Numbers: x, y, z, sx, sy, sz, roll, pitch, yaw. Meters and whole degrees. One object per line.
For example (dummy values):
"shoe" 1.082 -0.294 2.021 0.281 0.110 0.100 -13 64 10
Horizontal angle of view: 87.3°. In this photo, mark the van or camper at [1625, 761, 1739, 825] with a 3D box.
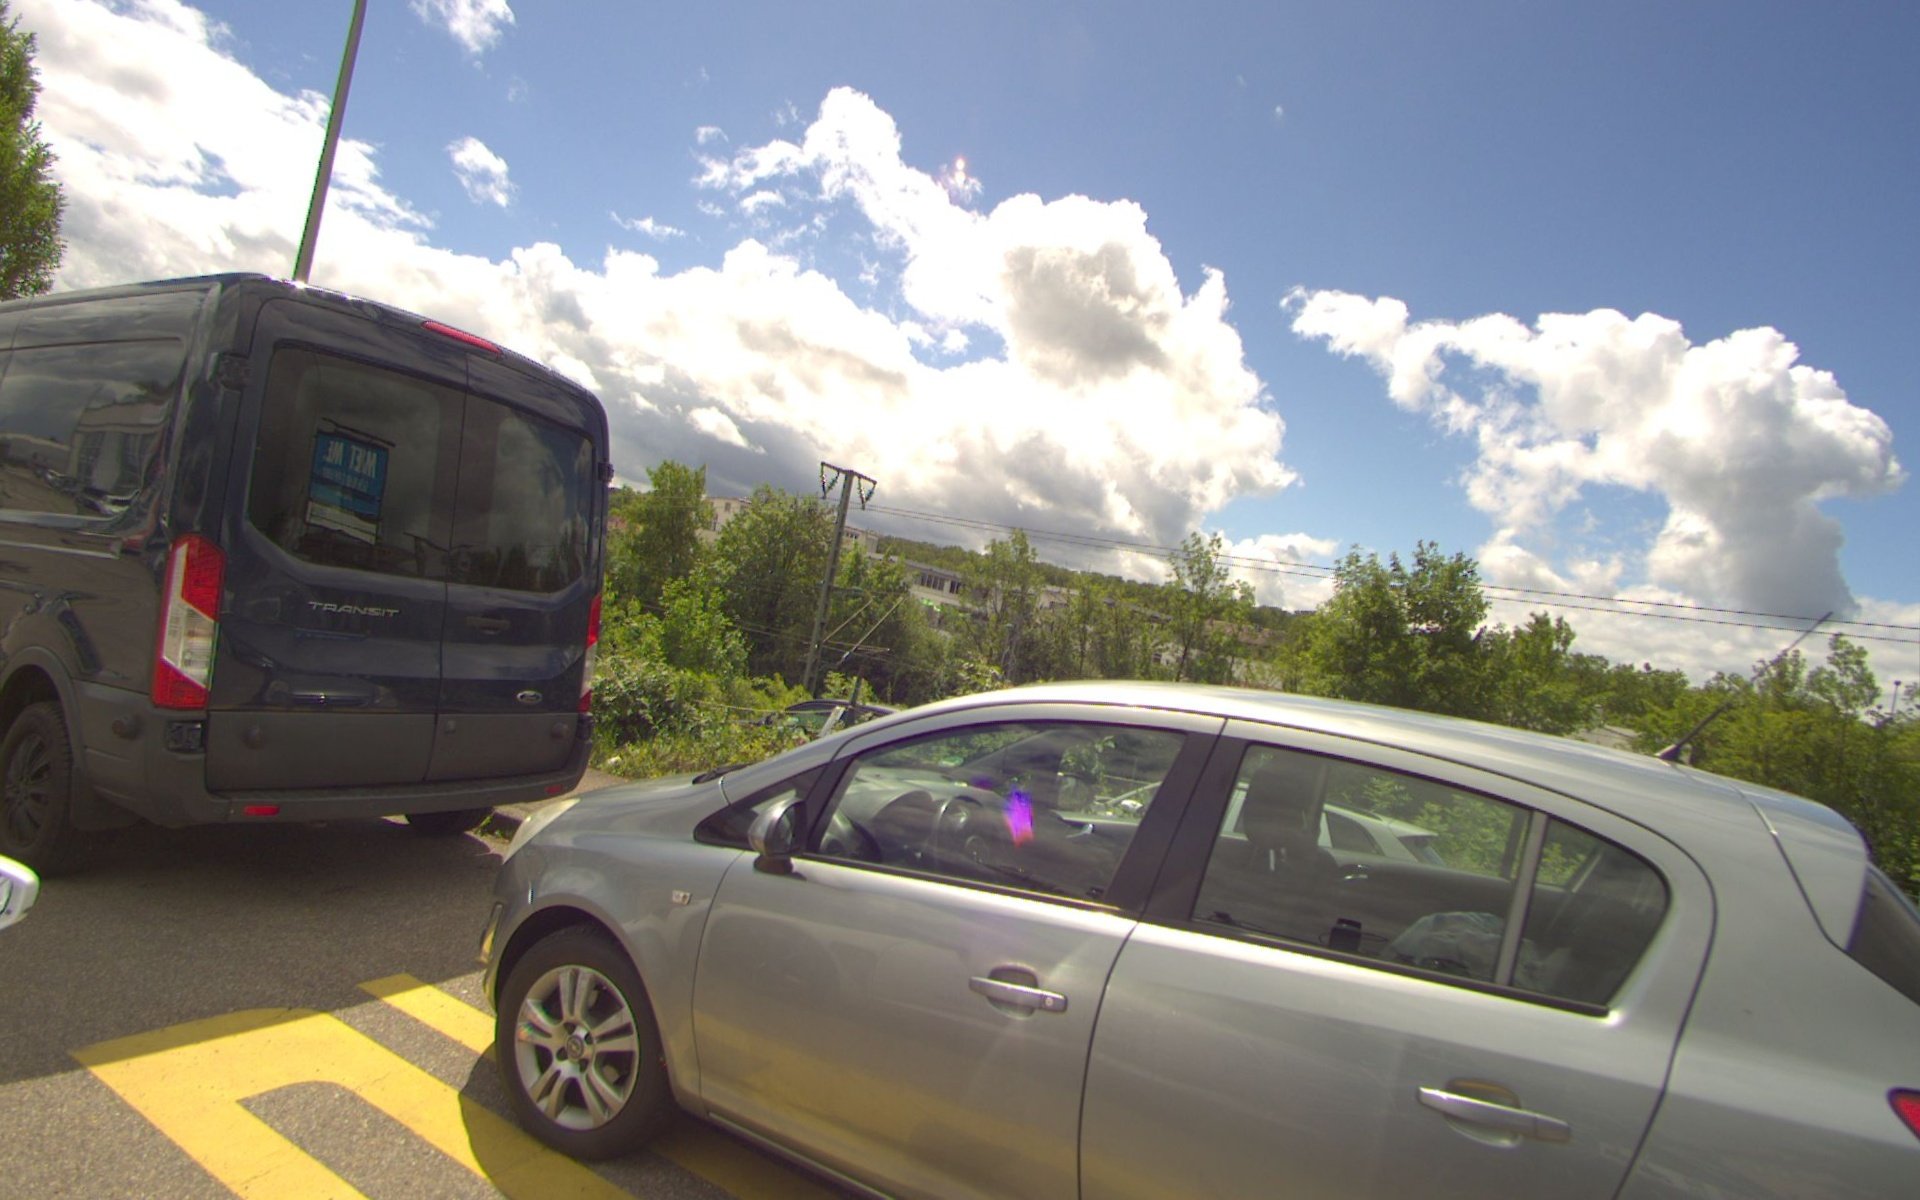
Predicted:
"van or camper" 42.949 11.463 59.947 5.225 2.720 1.925 6 -4 39

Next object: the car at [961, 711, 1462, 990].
"car" 2.443 2.291 10.127 4.452 1.527 1.711 8 -3 30

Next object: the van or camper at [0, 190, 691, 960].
"van or camper" -4.593 -0.292 5.770 5.816 2.615 2.130 7 -2 30

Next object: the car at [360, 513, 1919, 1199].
"car" 0.356 0.824 2.755 3.633 1.527 1.711 8 -3 30

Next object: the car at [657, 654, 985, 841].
"car" -1.776 1.772 12.666 3.633 1.527 1.711 8 -3 30

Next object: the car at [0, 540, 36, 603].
"car" -26.986 -0.921 27.367 3.517 1.524 1.623 7 0 29
